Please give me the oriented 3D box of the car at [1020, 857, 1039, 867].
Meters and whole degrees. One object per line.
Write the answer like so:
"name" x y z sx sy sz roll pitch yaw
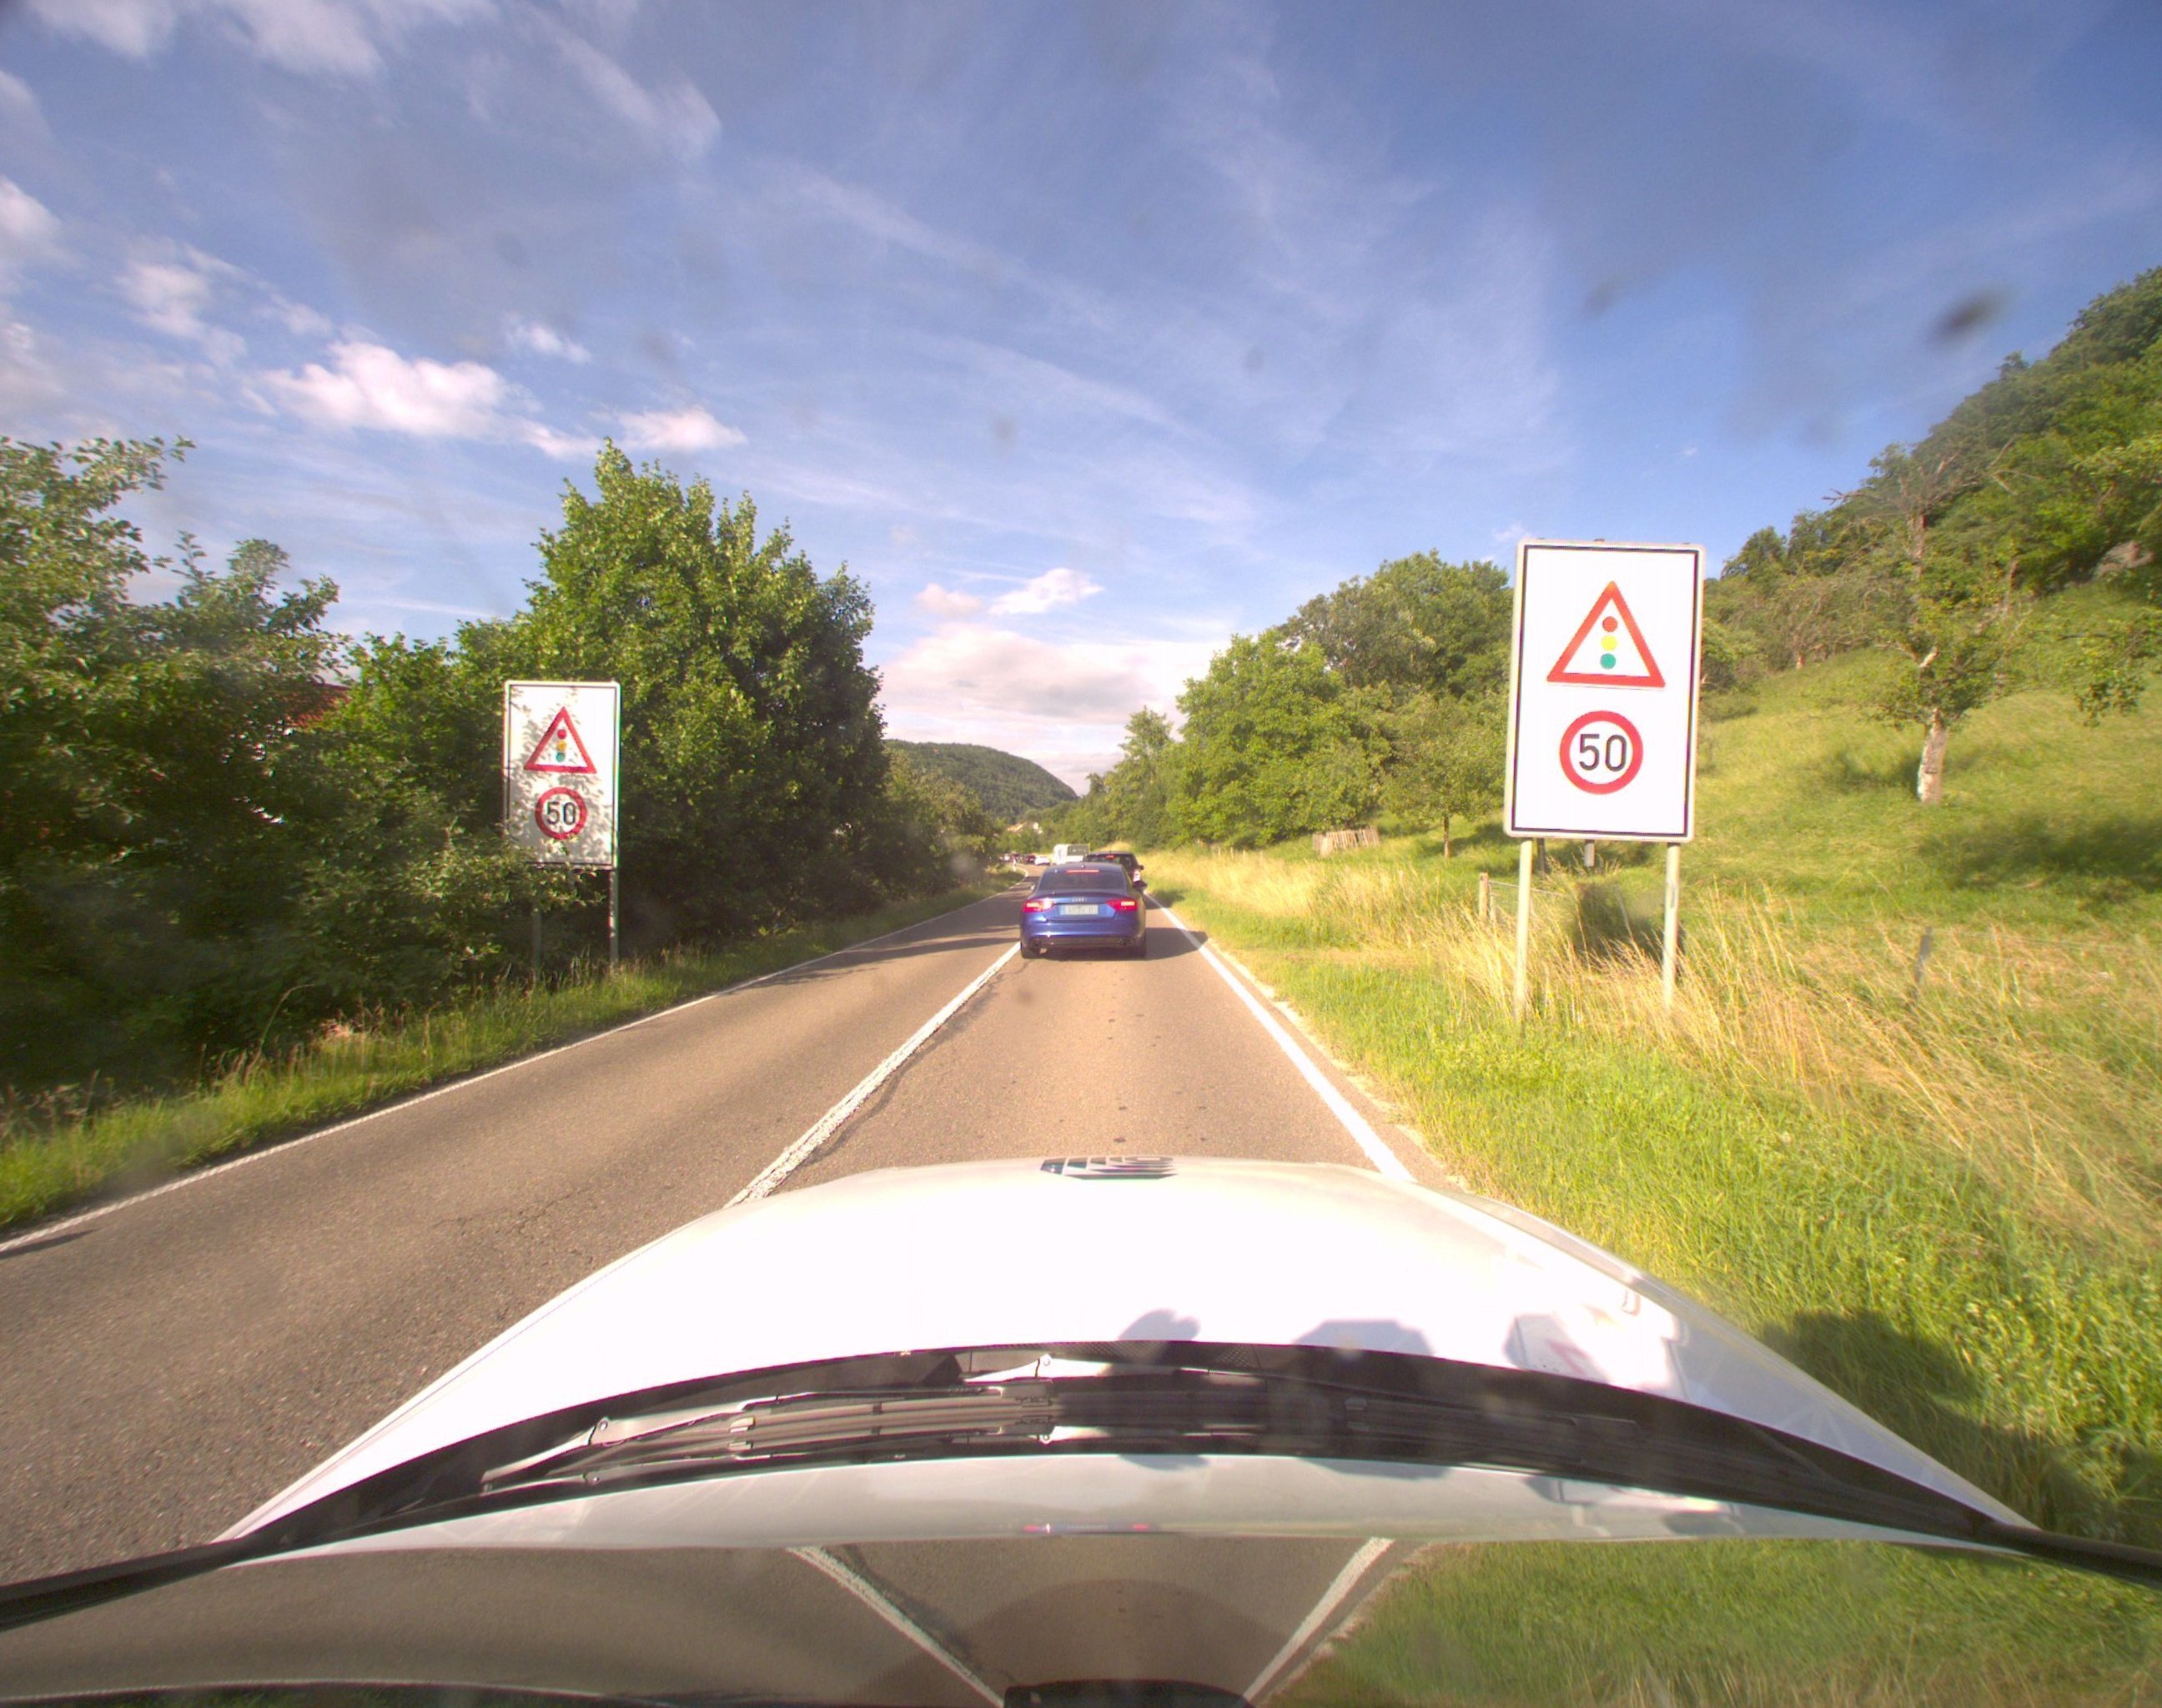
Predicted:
"car" -7.870 1.197 123.948 1.999 1.482 3.975 0 -1 -18

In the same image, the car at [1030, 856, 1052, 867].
"car" -5.562 1.046 112.907 1.999 1.482 3.975 0 -1 -18

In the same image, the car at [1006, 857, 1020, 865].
"car" -12.228 1.216 146.161 1.996 1.482 3.980 0 -1 -14

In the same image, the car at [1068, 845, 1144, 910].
"car" 0.736 0.637 23.413 1.986 1.702 4.002 -1 -1 2

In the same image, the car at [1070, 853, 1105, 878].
"car" 0.451 0.691 50.324 1.986 1.482 4.002 -1 -1 2

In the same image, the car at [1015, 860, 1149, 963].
"car" 0.120 0.784 12.863 1.786 1.360 4.003 -1 -1 3

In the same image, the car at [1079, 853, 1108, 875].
"car" 0.934 0.716 59.417 1.986 1.482 4.002 -1 -1 2

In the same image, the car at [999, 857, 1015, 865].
"car" -14.113 1.332 154.990 2.000 1.482 3.972 0 -1 -20

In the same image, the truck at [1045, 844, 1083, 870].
"truck" -1.976 0.295 88.491 2.863 2.665 10.612 0 0 -9

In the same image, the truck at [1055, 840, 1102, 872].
"truck" -0.365 0.194 74.476 2.863 2.665 10.361 0 0 -9
